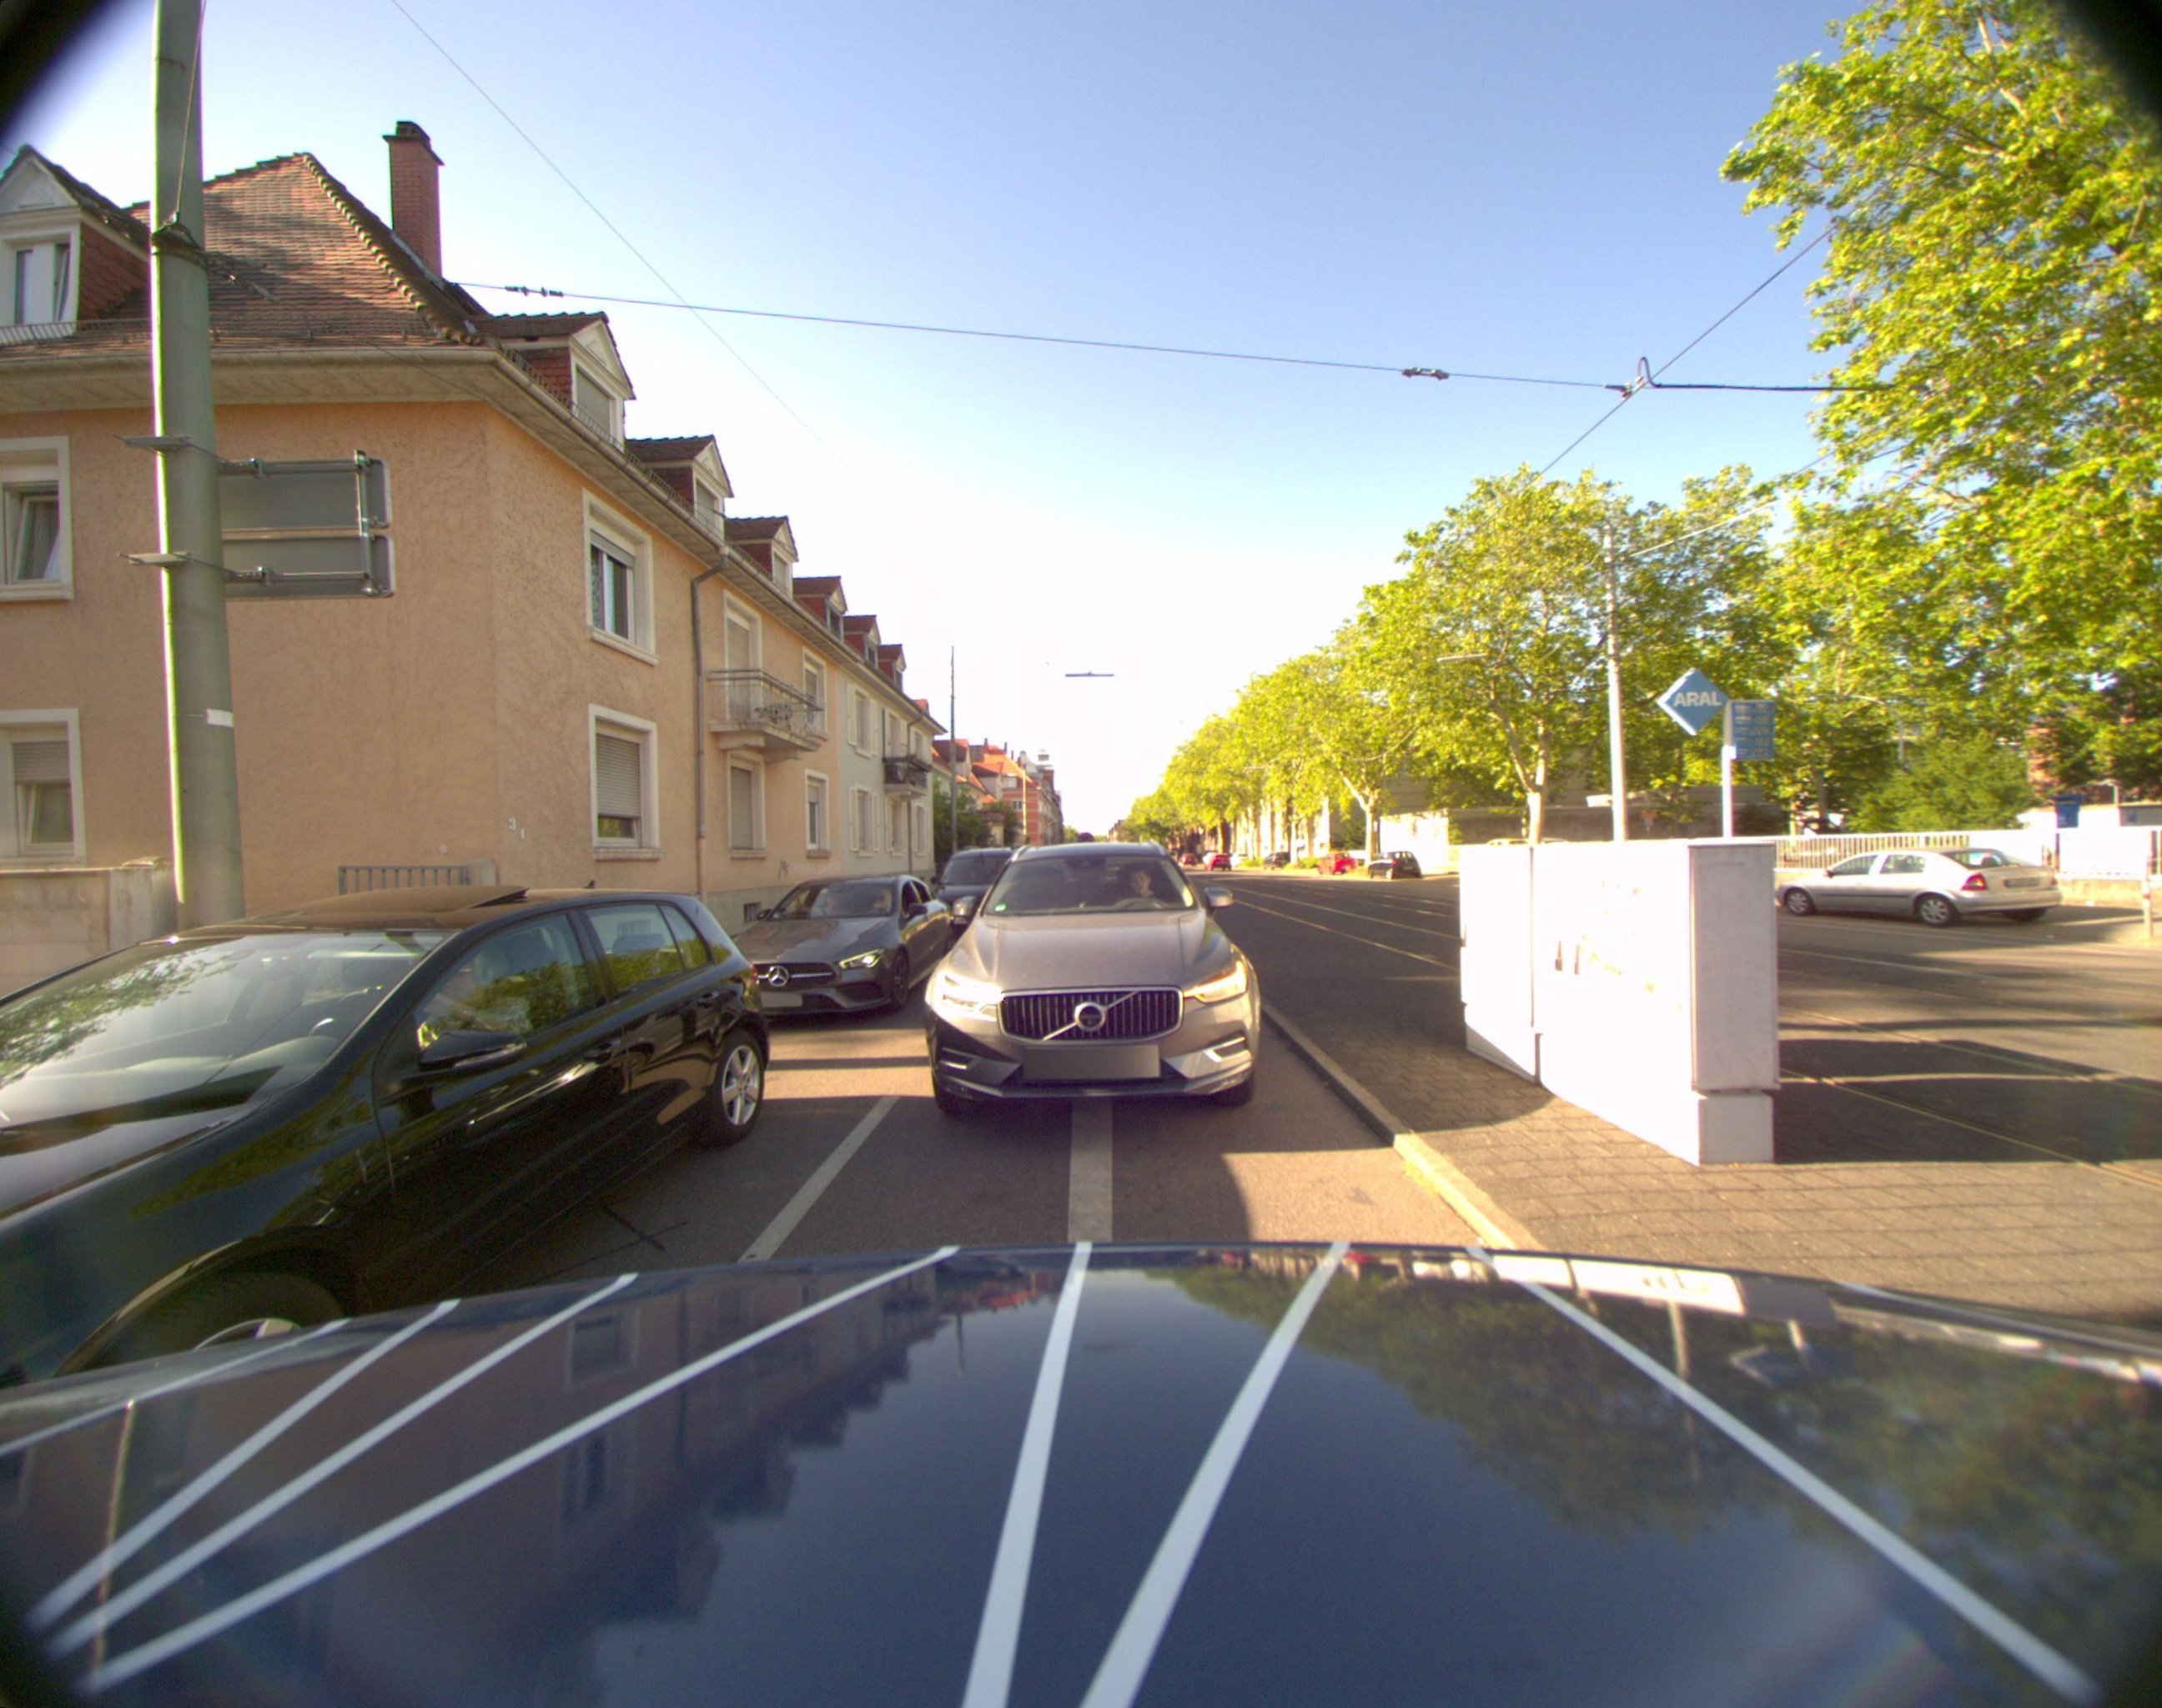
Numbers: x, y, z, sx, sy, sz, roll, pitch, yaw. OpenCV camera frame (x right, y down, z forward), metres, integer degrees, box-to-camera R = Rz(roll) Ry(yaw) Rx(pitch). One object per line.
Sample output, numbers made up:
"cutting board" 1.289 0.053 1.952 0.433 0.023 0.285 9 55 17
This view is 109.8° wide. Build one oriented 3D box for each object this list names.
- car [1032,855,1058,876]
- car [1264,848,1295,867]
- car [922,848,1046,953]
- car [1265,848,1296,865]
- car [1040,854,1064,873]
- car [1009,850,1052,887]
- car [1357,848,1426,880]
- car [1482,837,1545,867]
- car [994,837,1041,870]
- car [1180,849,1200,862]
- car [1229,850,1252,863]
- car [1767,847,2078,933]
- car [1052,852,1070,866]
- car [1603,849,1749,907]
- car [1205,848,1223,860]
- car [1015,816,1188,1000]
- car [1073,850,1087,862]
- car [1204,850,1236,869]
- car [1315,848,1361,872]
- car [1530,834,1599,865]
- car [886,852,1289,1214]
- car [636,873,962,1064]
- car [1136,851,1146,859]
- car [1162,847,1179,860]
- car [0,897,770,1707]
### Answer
"car" -2.828 0.885 60.584 1.841 1.449 3.999 -2 1 1
"car" 17.167 0.319 65.990 1.700 1.566 3.999 -1 1 1
"car" -1.838 0.804 15.940 1.866 1.794 4.778 -2 1 1
"car" 17.284 0.226 65.909 1.700 1.401 3.999 -1 1 1
"car" -2.532 0.802 66.993 1.841 1.449 3.999 -2 1 1
"car" -2.882 0.778 45.108 1.937 1.888 7.210 -2 1 1
"car" 16.706 0.486 41.140 1.753 1.514 4.434 -5 1 -1
"car" 21.715 -0.112 38.266 1.545 1.412 3.151 -2 1 4
"car" -3.037 -0.053 37.219 1.841 1.449 3.999 -2 1 1
"car" 12.816 0.153 89.381 1.700 1.412 3.999 4 1 1
"car" 17.514 0.249 83.517 1.700 1.401 3.999 -1 1 1
"car" 16.212 0.594 15.006 1.731 1.412 3.999 -2 1 1
"car" -2.185 0.582 85.430 1.841 1.449 3.999 -2 1 1
"car" 16.428 0.606 21.179 1.546 1.412 3.254 -2 1 1
"car" 17.661 0.006 100.779 1.700 1.548 3.999 -1 1 1
"car" 0.239 0.597 11.117 1.912 2.048 4.763 -2 1 0
"car" -0.162 0.269 106.483 1.841 1.449 3.999 -2 1 1
"car" 12.177 0.460 66.764 1.912 1.514 4.763 0 1 0
"car" 16.994 0.389 50.412 1.700 1.460 3.999 -1 1 1
"car" 23.925 -0.240 37.724 1.545 1.412 3.151 -2 1 4
"car" 0.041 0.873 6.101 1.912 1.666 4.763 -2 1 0
"car" -2.786 1.051 8.792 1.911 1.411 4.492 -2 1 2
"car" 11.699 0.221 148.196 1.764 1.487 3.999 -2 1 1
"car" 13.007 -0.049 110.606 1.850 1.835 4.394 -1 1 -1
"car" -2.780 0.997 2.533 1.733 1.499 4.051 -2 -1 1
